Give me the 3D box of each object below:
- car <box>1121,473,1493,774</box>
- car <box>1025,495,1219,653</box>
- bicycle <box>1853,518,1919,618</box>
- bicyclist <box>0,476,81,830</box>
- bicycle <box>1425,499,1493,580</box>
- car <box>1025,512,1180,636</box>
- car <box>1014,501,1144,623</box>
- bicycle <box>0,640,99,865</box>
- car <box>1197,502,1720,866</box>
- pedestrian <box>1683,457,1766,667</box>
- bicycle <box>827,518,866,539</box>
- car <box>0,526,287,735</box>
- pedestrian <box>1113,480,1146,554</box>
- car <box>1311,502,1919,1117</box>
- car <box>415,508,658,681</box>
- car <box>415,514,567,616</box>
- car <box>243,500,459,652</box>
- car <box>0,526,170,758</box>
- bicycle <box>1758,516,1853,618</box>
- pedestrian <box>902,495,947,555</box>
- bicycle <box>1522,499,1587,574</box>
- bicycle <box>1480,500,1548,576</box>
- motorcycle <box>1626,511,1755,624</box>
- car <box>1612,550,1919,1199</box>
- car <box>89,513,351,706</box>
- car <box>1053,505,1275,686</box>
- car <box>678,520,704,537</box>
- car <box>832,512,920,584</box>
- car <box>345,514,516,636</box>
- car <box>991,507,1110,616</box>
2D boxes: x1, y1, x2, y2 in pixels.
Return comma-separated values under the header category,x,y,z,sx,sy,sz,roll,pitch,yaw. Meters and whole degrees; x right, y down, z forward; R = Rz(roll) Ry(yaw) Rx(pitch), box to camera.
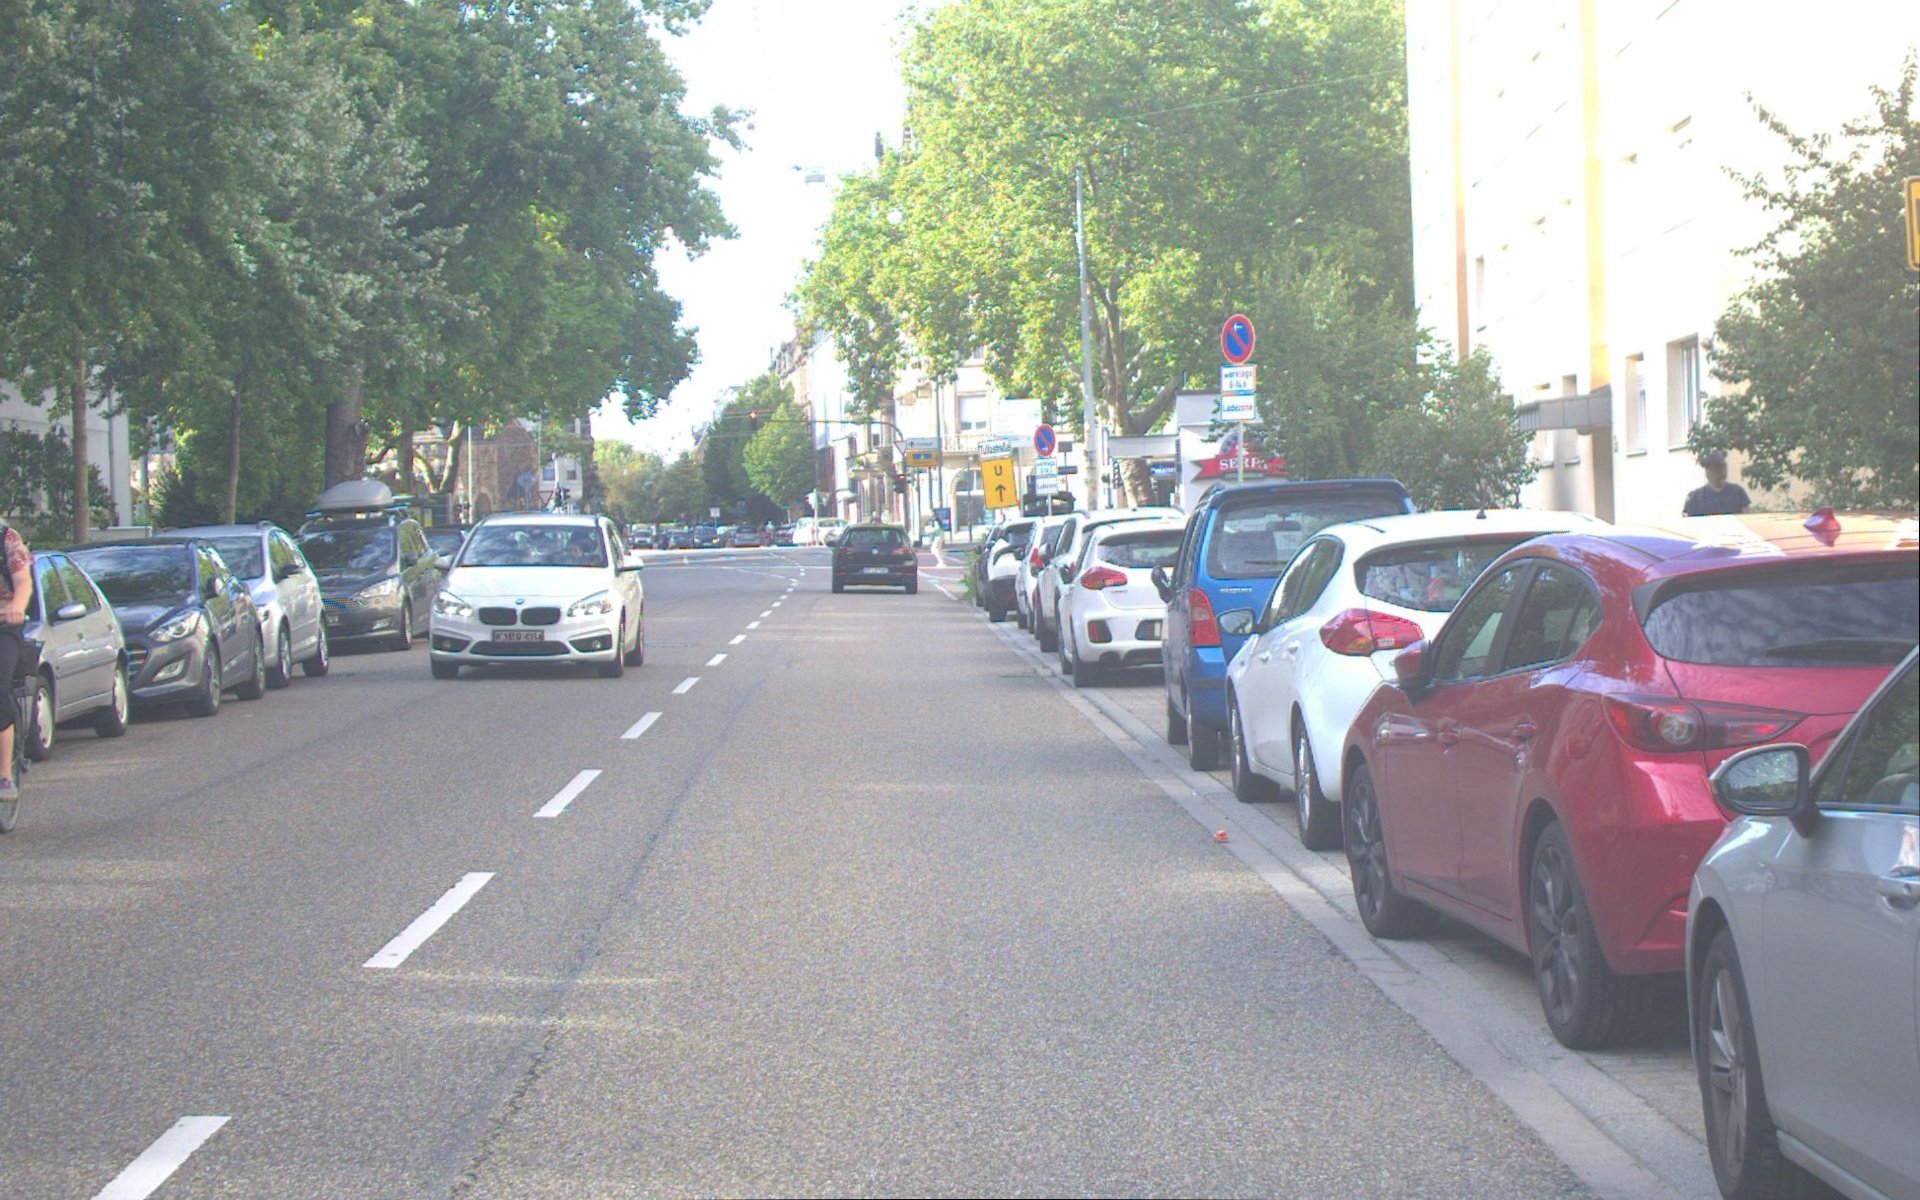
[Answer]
category,x,y,z,sx,sy,sz,roll,pitch,yaw
car,2.095,0.086,21.812,1.728,1.644,4.117,-3,1,-2
car,1.730,-0.319,37.926,1.728,1.575,4.118,-3,1,-2
bicycle,9.160,-0.324,33.446,0.458,0.924,1.517,-3,2,-2
bicyclist,-4.575,0.243,16.016,0.641,1.595,0.990,-3,1,-1
bicycle,7.661,-0.940,52.876,0.597,1.182,2.209,-5,2,-1
car,1.730,-0.348,42.649,1.515,1.393,3.677,-3,1,-3
car,1.576,-0.540,46.493,1.551,1.551,3.468,-1,1,-1
bicycle,-4.549,0.692,15.936,0.642,0.920,1.858,-3,1,-1
car,2.257,0.308,16.611,1.728,1.456,4.117,-3,1,-2
pedestrian,6.363,-0.323,28.643,0.542,1.715,0.771,-1,1,4
bicycle,-6.307,-3.976,190.713,2.022,1.078,0.620,-2,2,-14
car,-6.711,0.193,28.424,1.614,1.463,4.014,-5,2,-3
pedestrian,3.832,-1.876,77.736,0.652,1.639,0.743,-1,1,-1
car,2.333,0.482,10.935,1.728,1.510,4.192,-3,1,-3
car,-4.060,-0.104,33.526,1.859,1.523,4.011,-2,2,0
car,-7.669,-0.601,56.558,1.694,1.488,4.332,-3,2,2
car,-7.488,-0.347,42.663,1.799,1.662,4.483,-4,2,0
car,-6.688,0.281,23.502,1.600,1.414,3.964,-5,2,-1
bicycle,8.204,-0.332,33.395,0.458,0.938,1.517,-3,2,-2
pedestrian,-1.052,-2.217,101.644,1.074,1.747,0.919,-1,1,-18
bicycle,9.106,-0.983,52.708,0.529,1.111,2.209,-3,2,-1
bicycle,8.485,-0.958,52.706,0.597,1.111,2.209,-3,2,-1
motorcycle,7.200,-0.341,34.004,0.630,1.041,2.394,-3,2,-2
car,2.426,0.625,5.908,1.661,1.411,4.059,-3,1,-2
car,-7.151,0.039,33.587,1.738,1.614,3.995,-5,2,-3
car,1.830,-0.094,32.120,1.728,1.482,4.642,-3,1,0
car,-20.354,-5.409,260.392,1.778,1.225,3.588,-1,2,-2
car,-1.752,-1.096,70.853,1.751,1.408,4.001,-1,2,-2
car,-7.295,-0.381,47.641,1.700,1.481,3.848,-4,2,0
car,1.359,-0.620,52.209,1.690,1.523,4.238,-2,2,1
